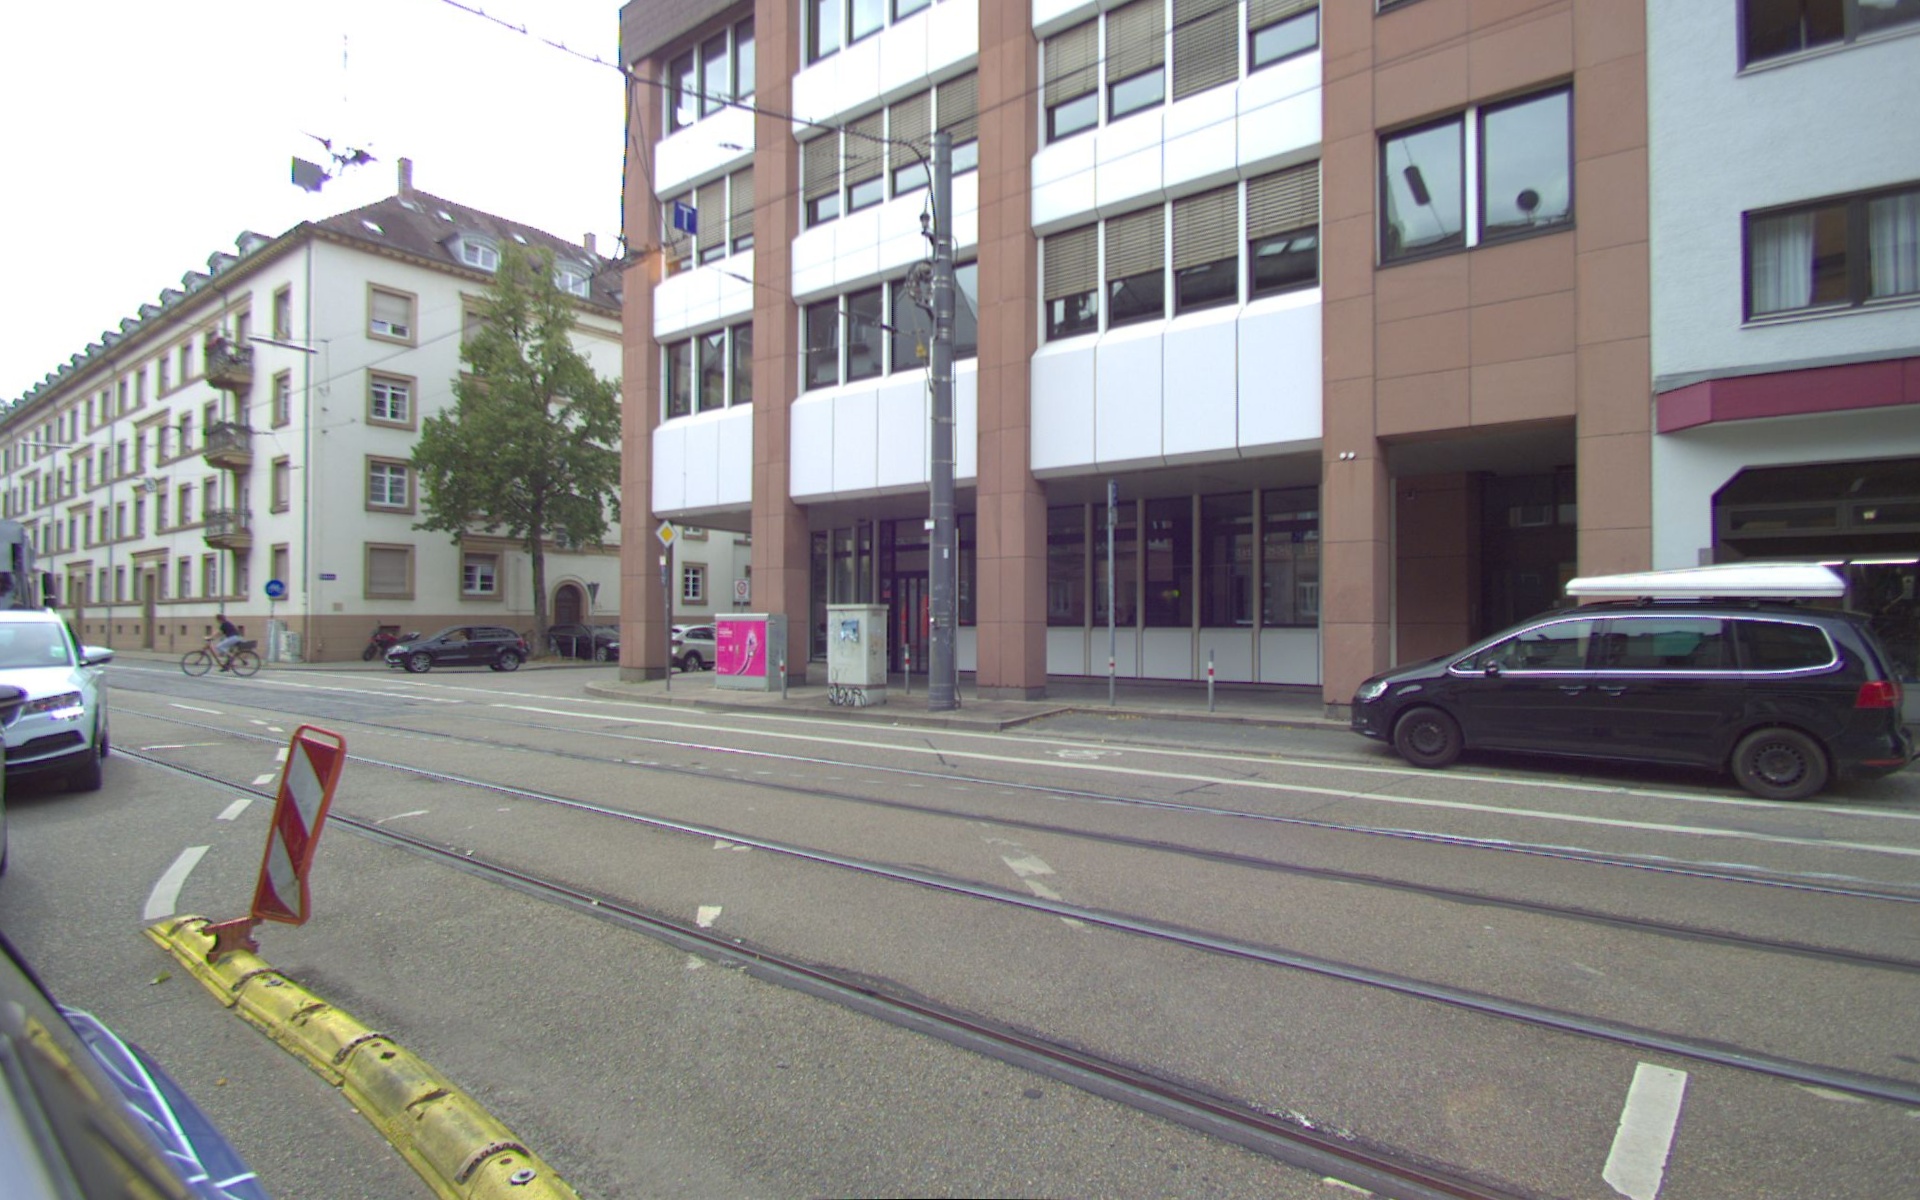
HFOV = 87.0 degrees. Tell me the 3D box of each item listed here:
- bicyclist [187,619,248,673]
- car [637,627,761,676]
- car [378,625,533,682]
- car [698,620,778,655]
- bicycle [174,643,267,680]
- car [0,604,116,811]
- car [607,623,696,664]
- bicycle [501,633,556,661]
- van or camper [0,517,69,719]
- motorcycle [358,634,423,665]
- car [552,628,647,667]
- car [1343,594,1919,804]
[{"bbox_3d":[-20.546,1.272,28.044,1.238,1.473,0.679,0,-3,-26],"label":"bicyclist"},{"bbox_3d":[-7.941,1.541,31.035,1.606,1.399,3.611,-1,-2,31],"label":"car"},{"bbox_3d":[-15.435,1.582,31.028,3.983,1.549,1.778,-1,-1,-37],"label":"car"},{"bbox_3d":[-9.843,1.651,44.775,3.520,1.473,1.572,-1,-2,38],"label":"car"},{"bbox_3d":[-20.466,1.705,28.069,1.977,0.972,0.675,0,-3,-26],"label":"bicycle"},{"bbox_3d":[-9.091,0.884,9.271,1.748,1.603,4.285,-1,-1,-44],"label":"car"},{"bbox_3d":[-12.387,1.710,40.523,3.711,1.559,1.591,-1,-2,38],"label":"car"},{"bbox_3d":[-17.600,1.913,41.331,0.792,1.094,1.900,-2,-2,39],"label":"bicycle"},{"bbox_3d":[-20.347,0.394,19.993,9.642,3.447,2.575,-2,-2,39],"label":"van or camper"},{"bbox_3d":[-20.860,1.798,37.108,0.792,1.094,1.900,-2,-2,39],"label":"motorcycle"},{"bbox_3d":[-13.798,1.771,38.629,3.869,1.407,1.591,-1,-2,38],"label":"car"},{"bbox_3d":[6.565,0.836,10.224,4.694,1.659,1.789,-2,0,40],"label":"car"}]
